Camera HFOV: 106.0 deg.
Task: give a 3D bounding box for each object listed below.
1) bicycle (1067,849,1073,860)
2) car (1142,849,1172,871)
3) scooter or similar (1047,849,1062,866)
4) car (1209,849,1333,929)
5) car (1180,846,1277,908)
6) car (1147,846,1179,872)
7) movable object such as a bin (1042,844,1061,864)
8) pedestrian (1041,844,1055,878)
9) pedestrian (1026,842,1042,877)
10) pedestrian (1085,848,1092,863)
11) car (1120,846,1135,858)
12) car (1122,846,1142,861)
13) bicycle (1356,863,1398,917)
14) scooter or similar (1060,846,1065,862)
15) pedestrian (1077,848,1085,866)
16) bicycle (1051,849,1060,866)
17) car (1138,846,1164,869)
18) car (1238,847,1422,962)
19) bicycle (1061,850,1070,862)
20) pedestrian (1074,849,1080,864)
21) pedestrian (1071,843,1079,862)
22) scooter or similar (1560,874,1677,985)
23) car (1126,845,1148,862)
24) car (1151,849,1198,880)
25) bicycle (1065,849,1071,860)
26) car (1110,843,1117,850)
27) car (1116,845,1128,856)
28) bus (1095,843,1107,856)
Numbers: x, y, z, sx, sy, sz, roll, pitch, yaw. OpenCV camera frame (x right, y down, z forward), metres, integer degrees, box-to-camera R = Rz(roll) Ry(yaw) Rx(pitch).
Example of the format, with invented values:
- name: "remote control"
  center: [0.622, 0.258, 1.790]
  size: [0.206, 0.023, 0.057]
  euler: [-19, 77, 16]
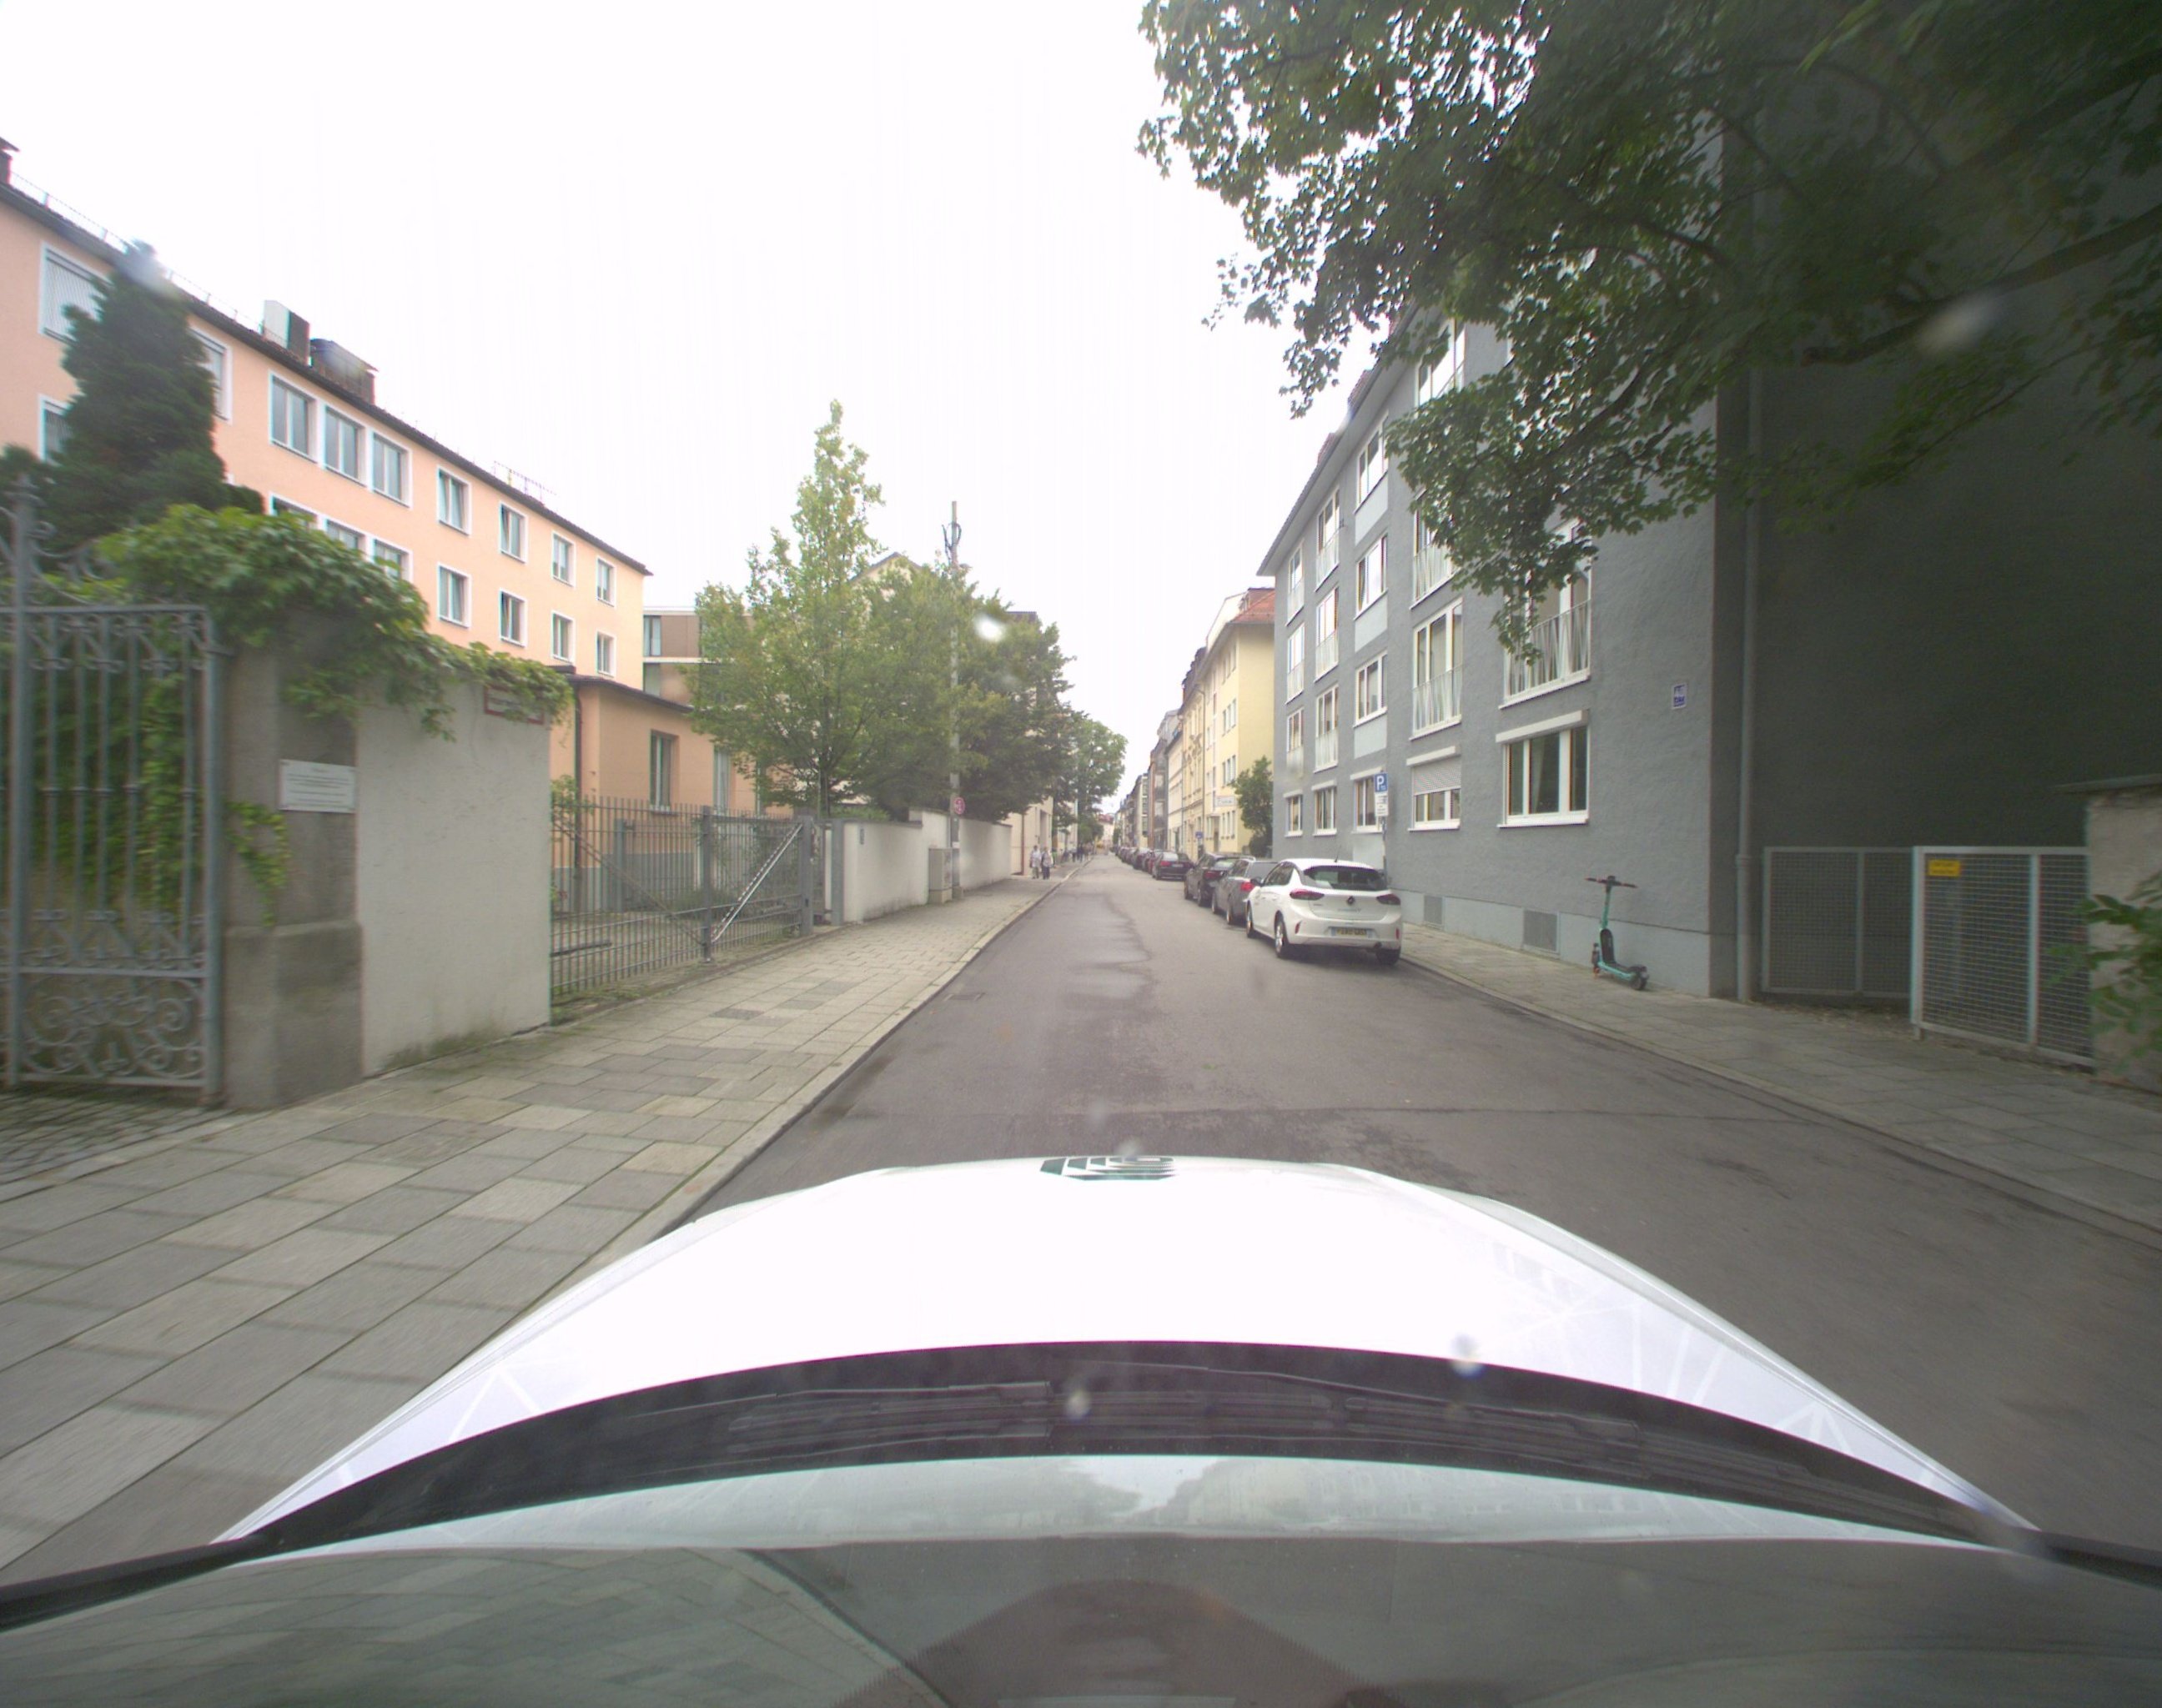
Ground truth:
- name: "bicycle"
  center: [-1.173, 0.063, 84.528]
  size: [0.560, 1.159, 1.718]
  euler: [0, 0, -4]
- name: "car"
  center: [5.032, 0.356, 54.285]
  size: [1.670, 1.393, 4.067]
  euler: [0, 1, 1]
- name: "scooter or similar"
  center: [-1.890, 0.255, 57.537]
  size: [0.547, 1.144, 1.364]
  euler: [3, 0, 18]
- name: "car"
  center: [4.001, 0.662, 17.900]
  size: [1.783, 1.401, 4.488]
  euler: [4, 1, 2]
- name: "car"
  center: [3.998, 0.569, 22.764]
  size: [1.835, 1.428, 4.263]
  euler: [4, 1, -1]
- name: "car"
  center: [4.959, 0.279, 49.685]
  size: [1.670, 1.492, 3.855]
  euler: [0, 1, 1]
- name: "movable object such as a bin"
  center: [-2.357, 0.016, 64.993]
  size: [1.168, 1.442, 1.251]
  euler: [5, 2, 7]
- name: "pedestrian"
  center: [-1.589, 0.337, 39.099]
  size: [0.620, 1.579, 0.714]
  euler: [1, 0, 1]
- name: "pedestrian"
  center: [-2.258, 0.274, 38.947]
  size: [0.611, 1.621, 0.688]
  euler: [3, 0, 1]
- name: "pedestrian"
  center: [0.821, 0.125, 92.721]
  size: [0.750, 1.659, 0.907]
  euler: [2, 0, 1]
- name: "car"
  center: [6.316, -0.274, 110.988]
  size: [1.880, 1.555, 4.390]
  euler: [1, 0, -1]
- name: "car"
  center: [5.356, -0.037, 86.283]
  size: [1.833, 1.528, 4.293]
  euler: [1, 0, 0]
- name: "bicycle"
  center: [6.623, 0.787, 18.297]
  size: [0.376, 1.110, 1.687]
  euler: [0, 0, 2]
- name: "scooter or similar"
  center: [-1.666, -0.016, 72.940]
  size: [0.316, 1.375, 1.239]
  euler: [-1, 0, 1]
- name: "pedestrian"
  center: [0.012, 0.303, 79.523]
  size: [0.715, 1.765, 0.838]
  euler: [2, 0, 2]
- name: "bicycle"
  center: [-1.878, 0.239, 59.603]
  size: [0.542, 1.161, 1.882]
  euler: [2, 0, 0]
- name: "car"
  center: [5.202, 0.232, 60.953]
  size: [1.696, 1.607, 4.686]
  euler: [0, 1, 1]
- name: "car"
  center: [3.788, 0.669, 13.211]
  size: [1.762, 1.445, 4.347]
  euler: [4, 1, 2]
- name: "bicycle"
  center: [-1.386, 0.166, 74.668]
  size: [0.702, 0.984, 1.821]
  euler: [4, 0, -3]
- name: "pedestrian"
  center: [-0.452, 0.290, 92.931]
  size: [0.610, 1.713, 0.823]
  euler: [2, 0, 1]
- name: "pedestrian"
  center: [-0.605, -0.144, 79.528]
  size: [0.715, 1.796, 0.917]
  euler: [2, 0, 2]
- name: "scooter or similar"
  center: [6.296, 0.843, 9.616]
  size: [0.503, 1.174, 1.377]
  euler: [-1, 0, 3]
- name: "car"
  center: [5.535, -0.061, 81.393]
  size: [1.869, 1.570, 4.315]
  euler: [-1, 0, 0]
- name: "car"
  center: [4.555, 0.467, 40.105]
  size: [1.819, 1.334, 4.510]
  euler: [4, 1, 1]
- name: "bicycle"
  center: [-1.300, 0.065, 82.813]
  size: [0.456, 1.159, 1.606]
  euler: [2, 0, 3]
- name: "car"
  center: [8.971, -2.098, 225.574]
  size: [1.795, 1.711, 3.826]
  euler: [4, 1, 0]
- name: "car"
  center: [7.381, -0.659, 147.628]
  size: [1.796, 1.820, 3.999]
  euler: [4, 1, -1]
- name: "bus"
  center: [4.755, -1.088, 193.641]
  size: [2.583, 3.101, 6.309]
  euler: [-1, 0, 2]
